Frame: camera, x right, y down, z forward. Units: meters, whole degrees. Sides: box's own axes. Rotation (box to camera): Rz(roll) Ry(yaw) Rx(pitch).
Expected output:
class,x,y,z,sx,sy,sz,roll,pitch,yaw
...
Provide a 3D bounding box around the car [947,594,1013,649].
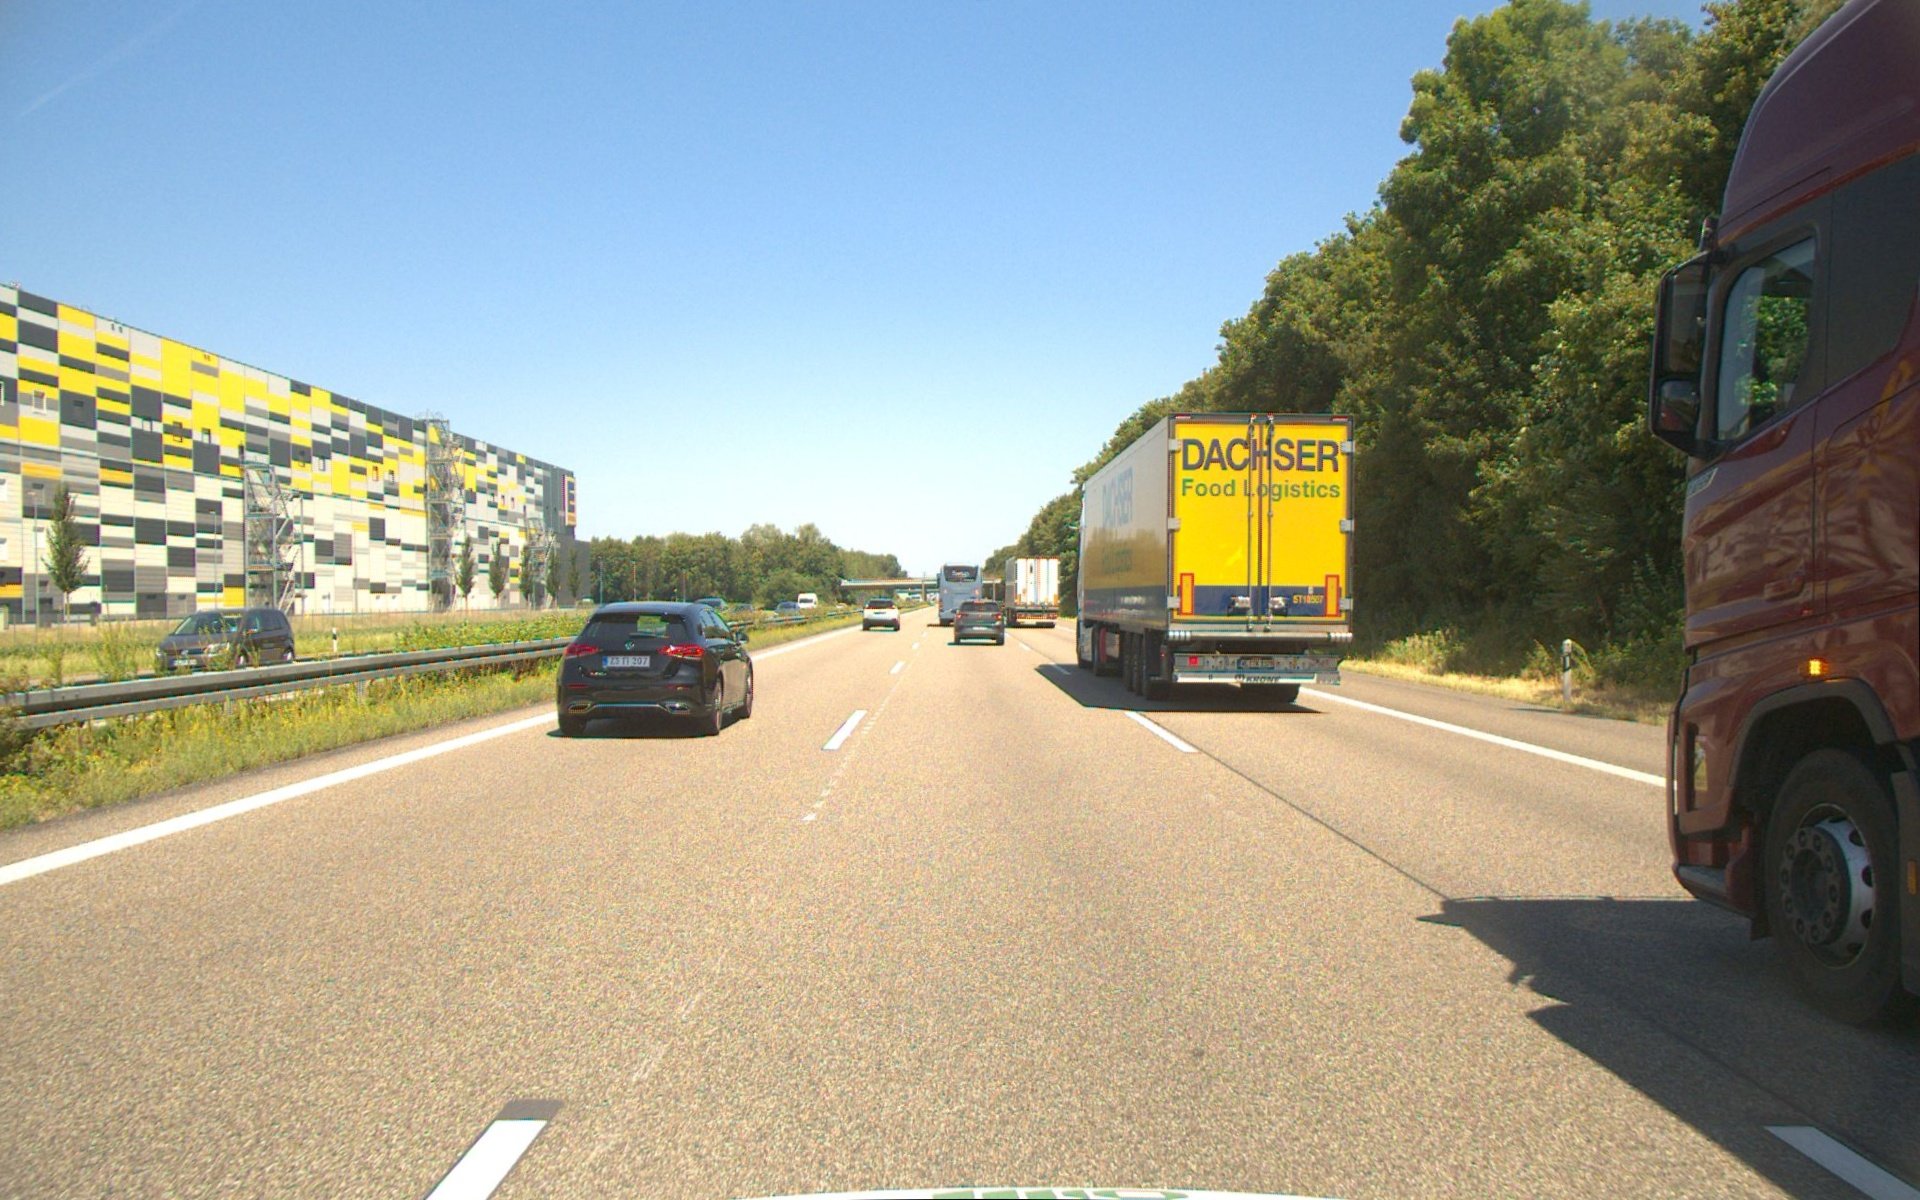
class,x,y,z,sx,sy,sz,roll,pitch,yaw
car,0.651,0.733,58.428,2.171,1.821,5.392,-1,0,-1

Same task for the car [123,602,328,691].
class,x,y,z,sx,sy,sz,roll,pitch,yaw
car,-16.716,0.995,37.996,2.269,1.847,5.351,-1,0,0

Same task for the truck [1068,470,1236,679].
class,x,y,z,sx,sy,sz,roll,pitch,yaw
truck,3.986,-0.498,35.731,2.756,4.076,6.643,0,0,-1

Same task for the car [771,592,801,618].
class,x,y,z,sx,sy,sz,roll,pitch,yaw
car,-12.946,0.377,123.183,1.873,1.820,4.480,-1,0,-2

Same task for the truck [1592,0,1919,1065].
class,x,y,z,sx,sy,sz,roll,pitch,yaw
truck,4.635,-0.748,5.046,3.024,4.518,6.051,0,-1,-1

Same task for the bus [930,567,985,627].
class,x,y,z,sx,sy,sz,roll,pitch,yaw
bus,-0.216,-0.163,98.758,3.000,3.385,8.271,-1,0,-2

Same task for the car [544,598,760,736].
class,x,y,z,sx,sy,sz,roll,pitch,yaw
car,-3.481,0.702,19.397,1.755,1.436,4.052,0,0,0

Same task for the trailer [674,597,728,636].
class,x,y,z,sx,sy,sz,roll,pitch,yaw
trailer,-12.520,0.770,80.255,1.905,1.821,5.235,-1,0,-2

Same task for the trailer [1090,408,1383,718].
class,x,y,z,sx,sy,sz,roll,pitch,yaw
trailer,4.044,-0.503,27.302,2.777,4.023,11.682,0,0,-1

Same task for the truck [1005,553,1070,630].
class,x,y,z,sx,sy,sz,roll,pitch,yaw
truck,4.413,-0.489,96.288,3.352,4.198,9.564,-1,0,1

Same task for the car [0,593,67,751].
class,x,y,z,sx,sy,sz,roll,pitch,yaw
car,-12.164,0.865,17.947,2.003,1.838,5.417,-1,0,-1

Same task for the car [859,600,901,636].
class,x,y,z,sx,sy,sz,roll,pitch,yaw
car,-3.898,0.867,81.552,1.953,1.758,4.129,0,0,-1
